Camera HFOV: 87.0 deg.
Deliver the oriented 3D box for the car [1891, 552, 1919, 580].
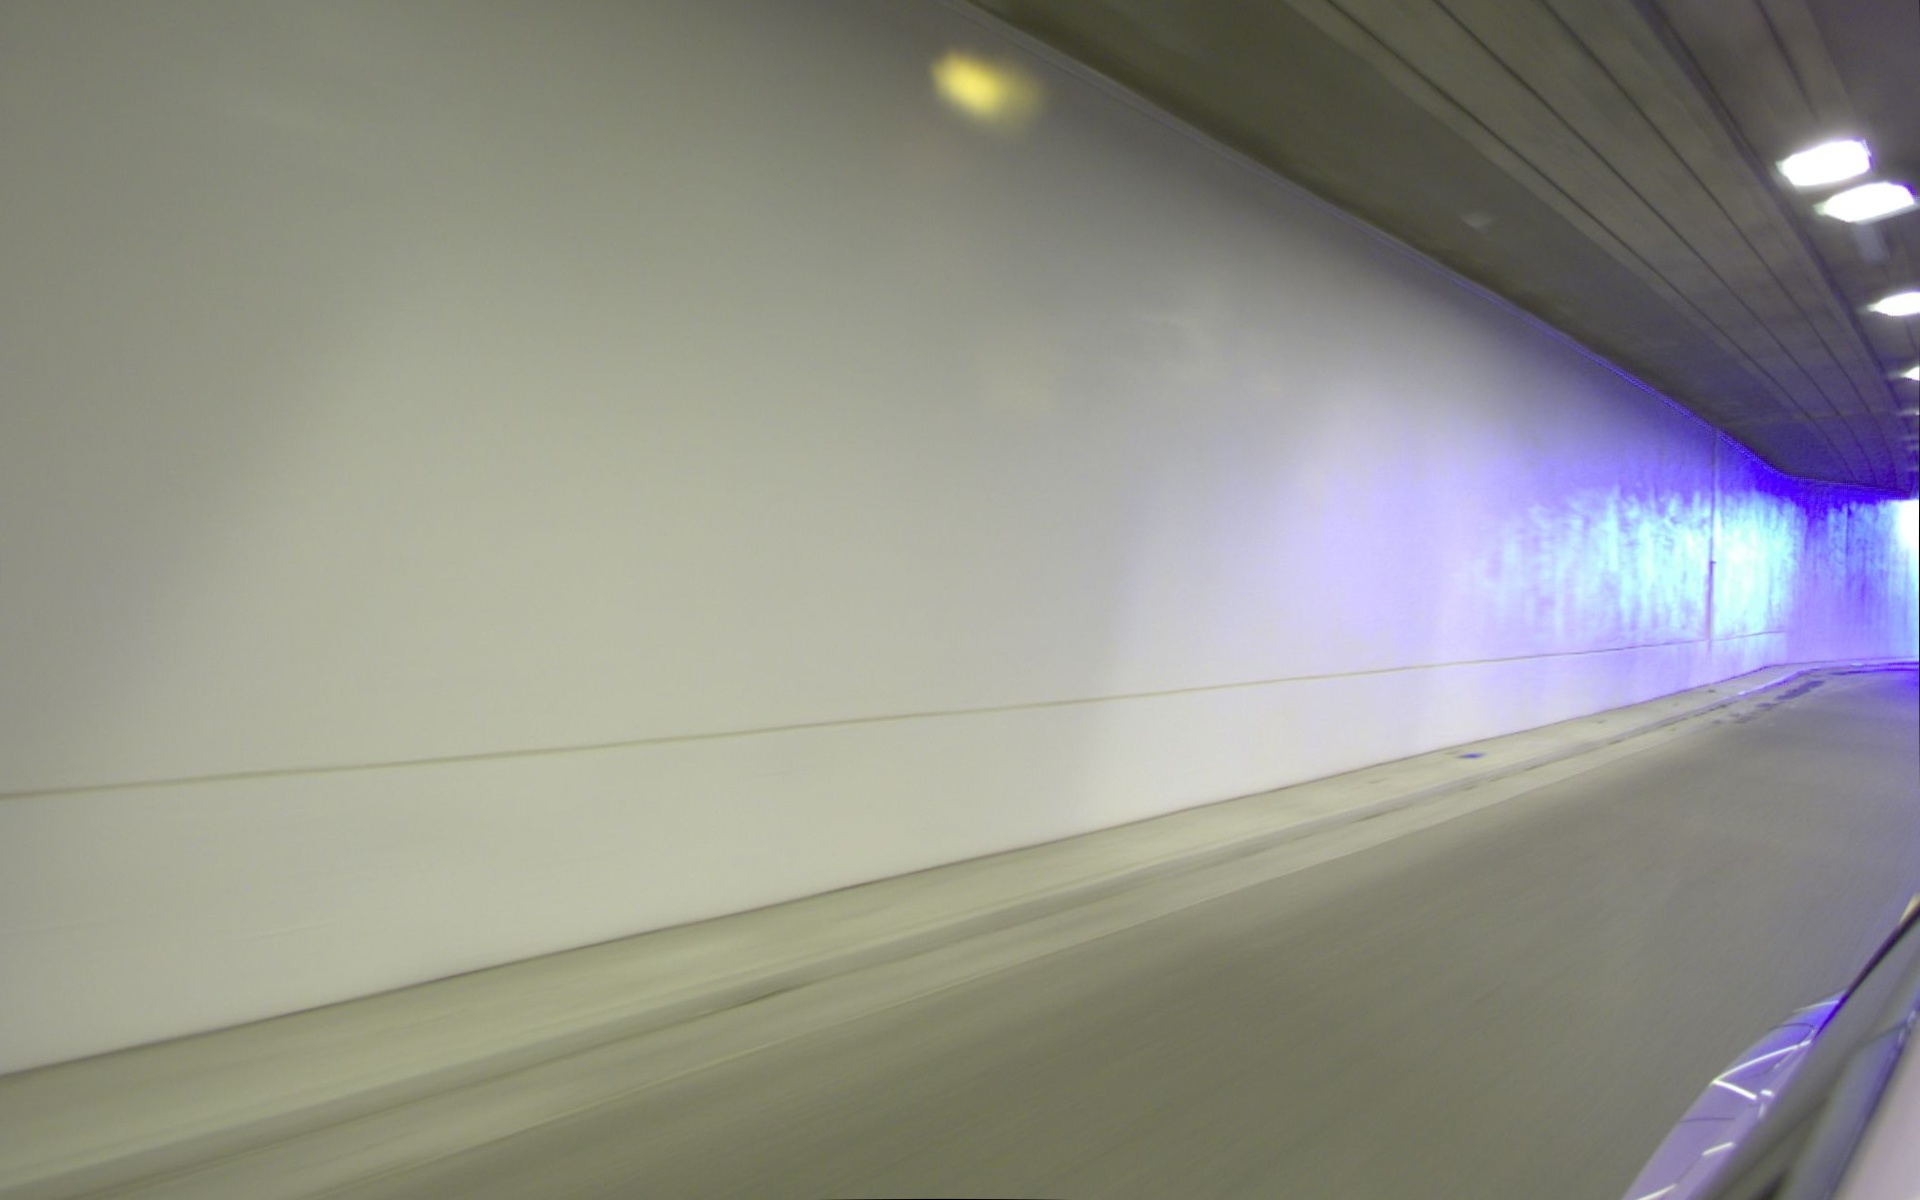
[{"bbox_3d":[72.347,-2.553,76.981,3.931,2.039,1.891,-1,1,-41],"label":"car"}]
